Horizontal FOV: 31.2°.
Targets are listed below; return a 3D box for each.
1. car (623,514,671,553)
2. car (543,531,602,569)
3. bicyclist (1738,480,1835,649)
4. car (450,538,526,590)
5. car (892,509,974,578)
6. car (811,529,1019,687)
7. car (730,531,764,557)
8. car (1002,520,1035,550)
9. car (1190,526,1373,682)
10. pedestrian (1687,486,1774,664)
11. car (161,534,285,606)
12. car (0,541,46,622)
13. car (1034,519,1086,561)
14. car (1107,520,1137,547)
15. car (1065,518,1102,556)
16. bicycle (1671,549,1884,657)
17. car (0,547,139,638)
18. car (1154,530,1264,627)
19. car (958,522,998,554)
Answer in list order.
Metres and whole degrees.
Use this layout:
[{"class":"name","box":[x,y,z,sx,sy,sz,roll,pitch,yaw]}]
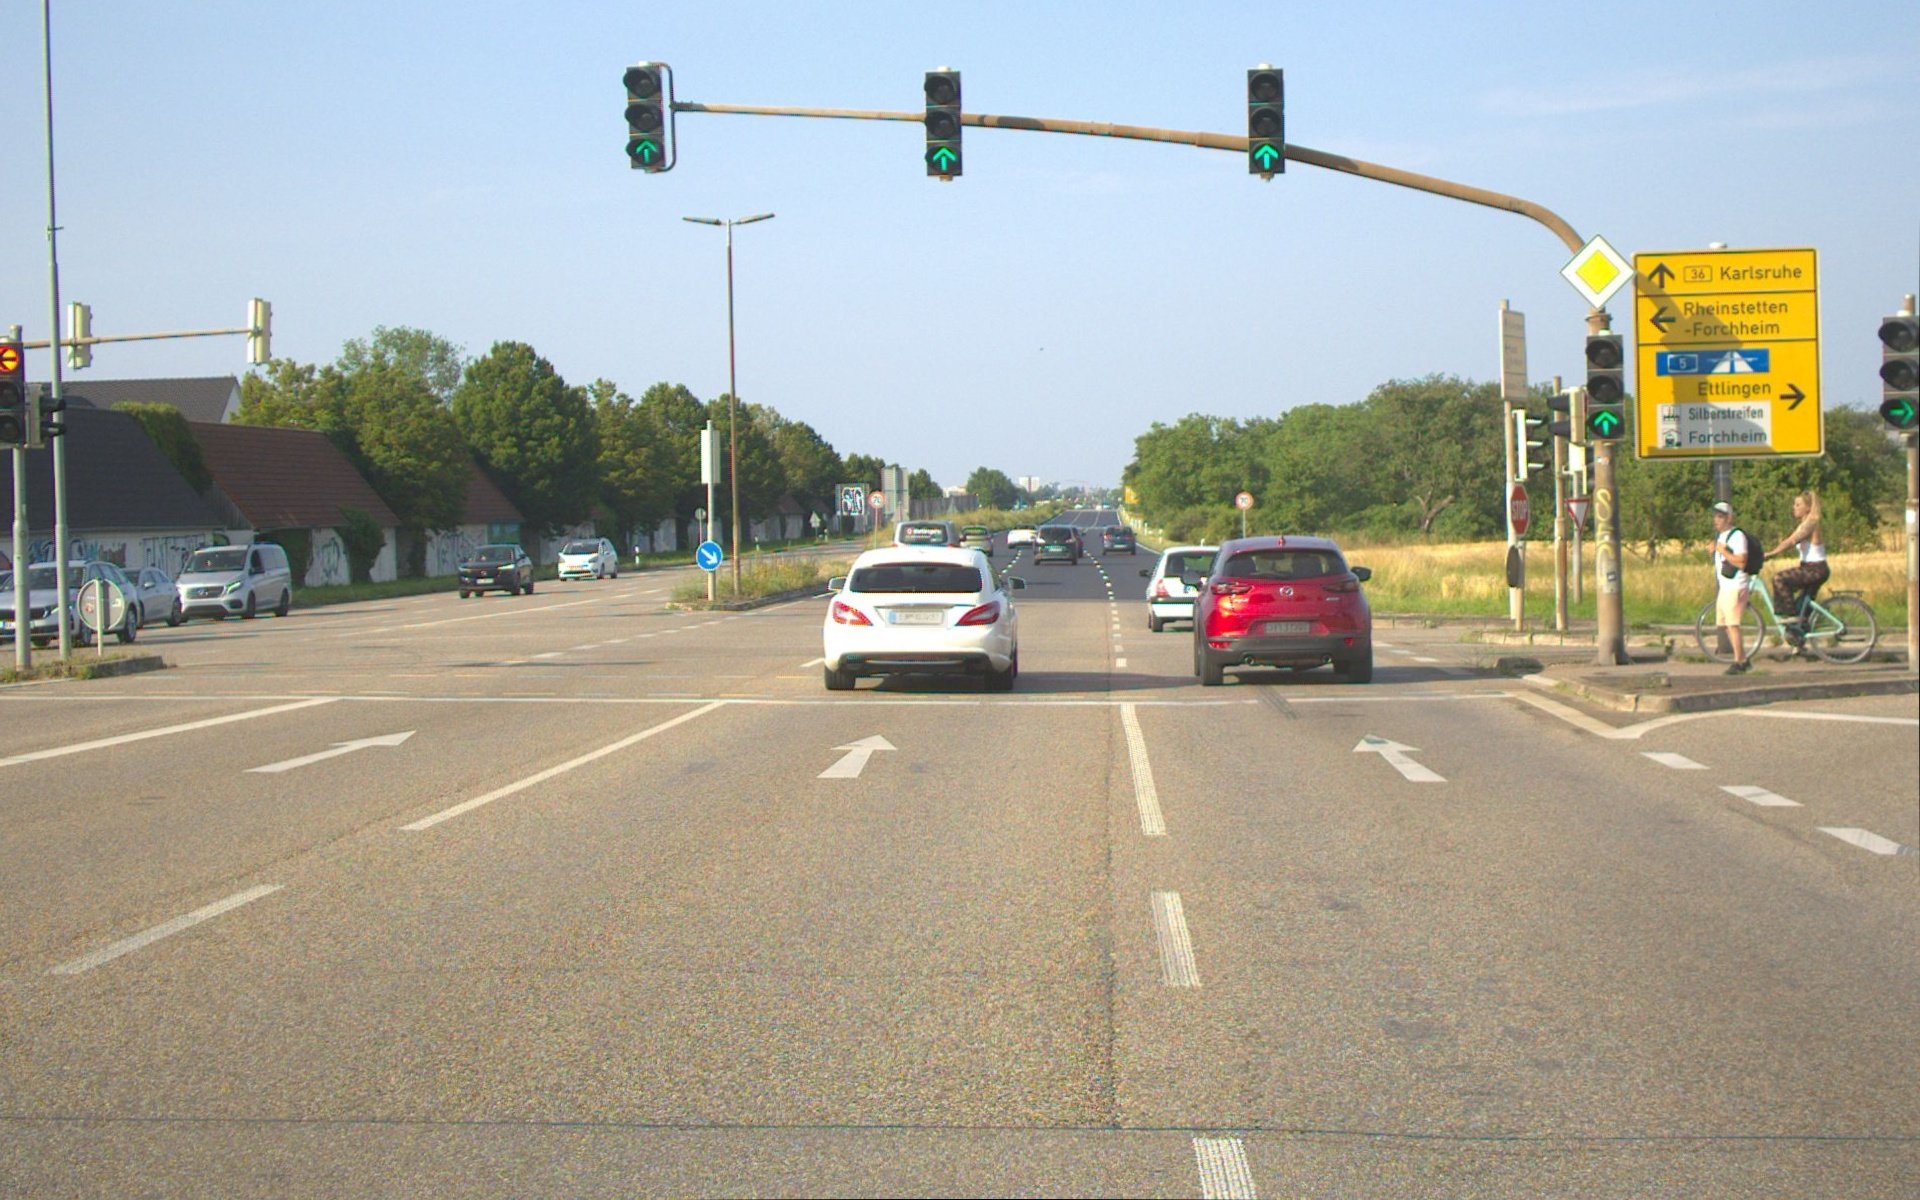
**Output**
[{"class":"car","box":[-14.999,-3.200,164.919,1.993,1.787,4.000,1,1,-1]},{"class":"car","box":[-15.704,-2.046,139.449,1.993,1.492,4.000,1,1,-1]},{"class":"bicyclist","box":[8.721,-0.383,36.321,0.848,1.749,0.798,1,1,4]},{"class":"car","box":[-14.286,-1.113,104.251,1.822,1.503,3.798,1,1,-1]},{"class":"car","box":[-0.767,-1.679,100.831,2.025,1.885,4.958,1,2,4]},{"class":"car","box":[-0.400,0.039,35.102,1.894,1.503,4.000,0,1,3]},{"class":"car","box":[-13.120,-3.472,211.895,1.754,1.525,4.000,1,1,1]},{"class":"car","box":[3.344,-3.713,196.064,1.776,1.660,3.664,1,1,-1]},{"class":"car","box":[3.328,-0.002,36.171,1.754,1.511,4.000,-1,1,3]},{"class":"pedestrian","box":[7.687,-0.258,34.326,0.710,1.745,0.862,1,1,5]},{"class":"car","box":[-18.332,-0.765,85.714,1.997,1.681,4.575,1,1,2]},{"class":"car","box":[-20.698,-0.412,72.432,1.889,1.612,3.857,1,1,-1]},{"class":"car","box":[4.104,-2.450,140.165,1.839,1.678,3.999,1,1,5]},{"class":"car","box":[8.065,-3.318,170.908,1.439,1.279,2.914,1,1,3]},{"class":"car","box":[5.821,-2.976,162.100,1.711,1.730,3.867,1,1,2]},{"class":"bicycle","box":[8.630,0.022,36.355,2.096,1.085,0.807,1,1,6]},{"class":"car","box":[-15.510,-0.159,59.096,1.783,1.432,4.357,1,1,-1]},{"class":"car","box":[4.113,-0.386,56.994,1.730,1.525,3.473,1,1,4]},{"class":"car","box":[0.867,-2.982,165.119,1.717,1.487,3.584,1,1,3]}]
